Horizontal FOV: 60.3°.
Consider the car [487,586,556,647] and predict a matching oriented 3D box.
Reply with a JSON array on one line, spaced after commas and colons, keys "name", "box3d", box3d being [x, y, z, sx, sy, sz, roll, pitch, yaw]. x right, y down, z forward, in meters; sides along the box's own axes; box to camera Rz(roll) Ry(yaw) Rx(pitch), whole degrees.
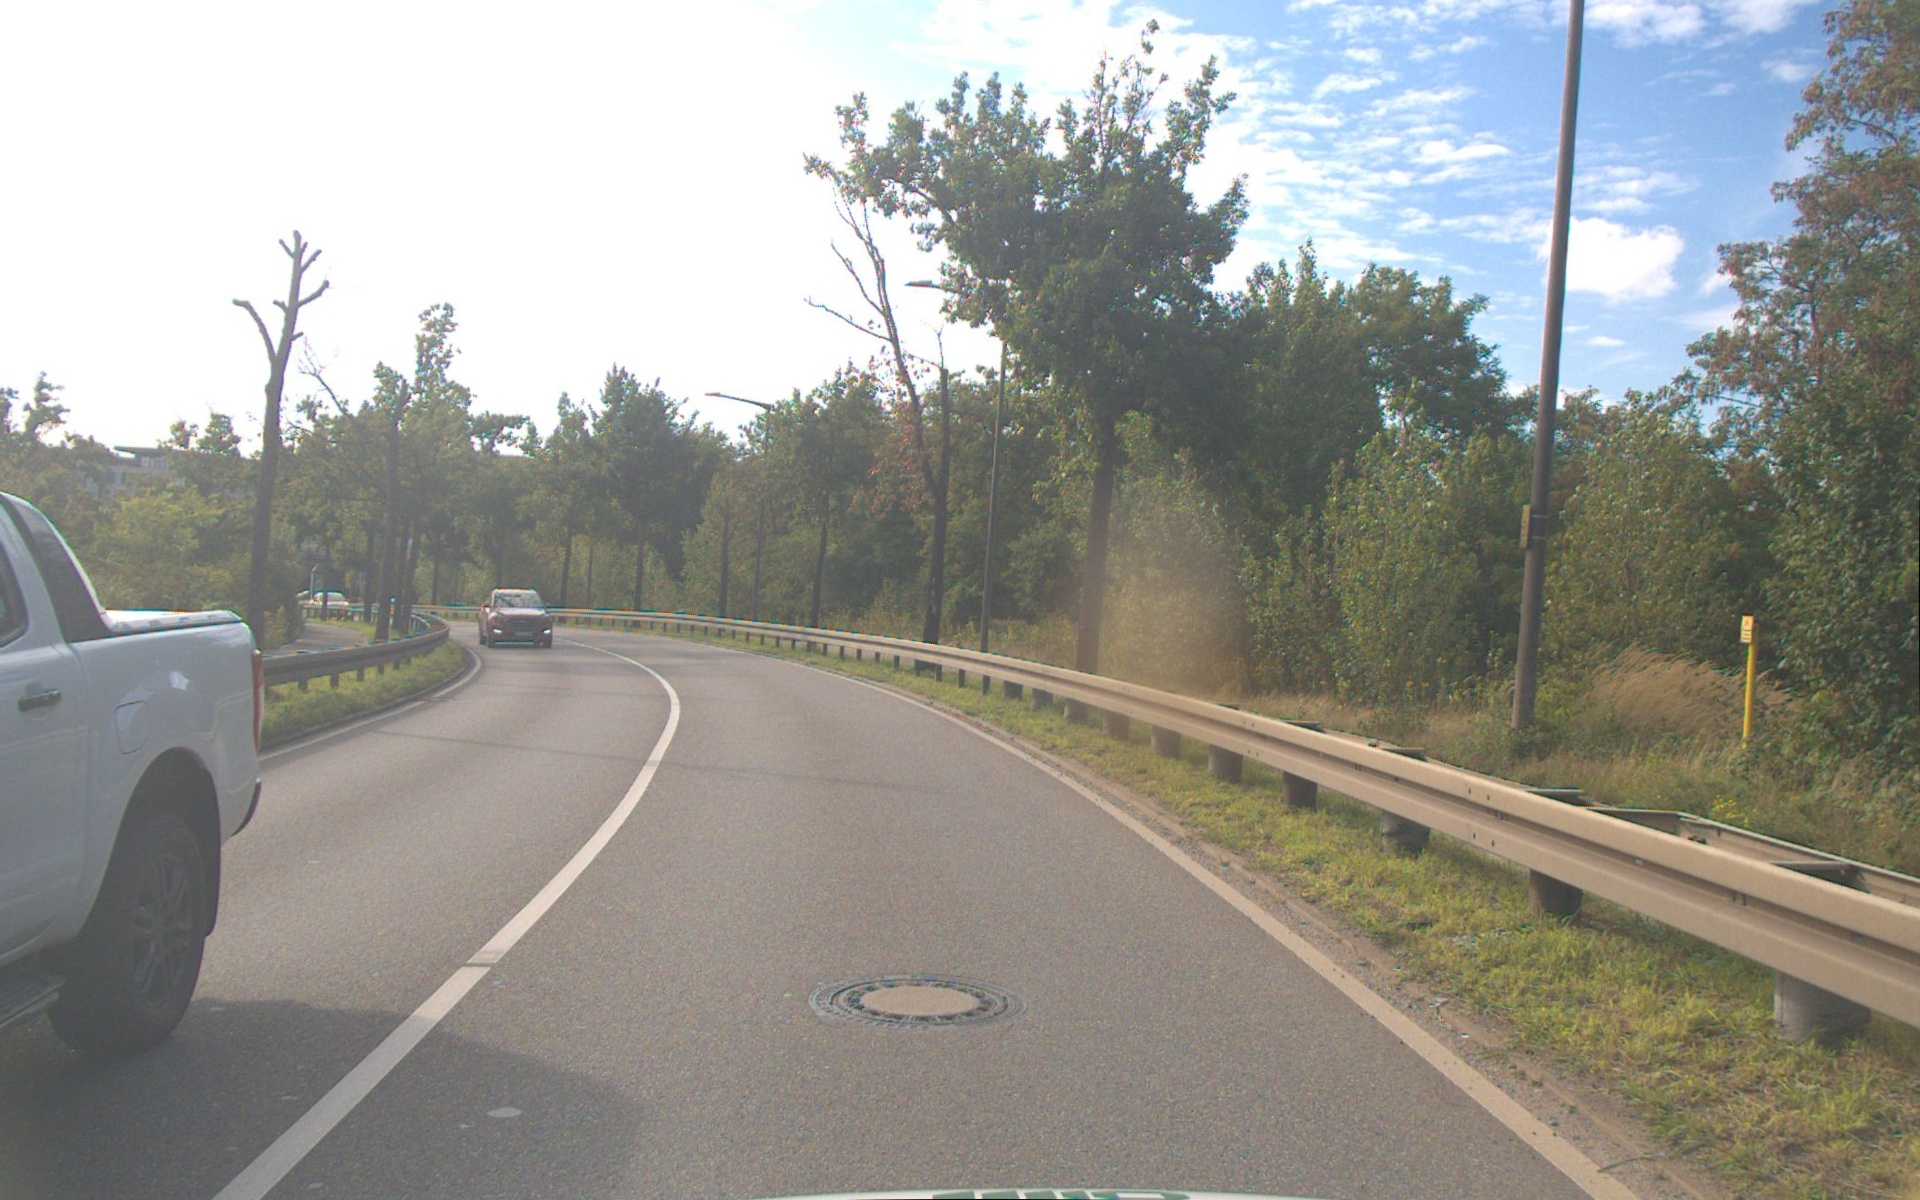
[{"name": "car", "box3d": [-13.091, 0.469, 49.247, 1.781, 1.703, 4.276, 2, 0, -18]}]

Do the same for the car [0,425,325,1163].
[{"name": "car", "box3d": [-3.312, 0.478, 3.943, 1.863, 1.842, 5.399, 1, 0, -4]}]
